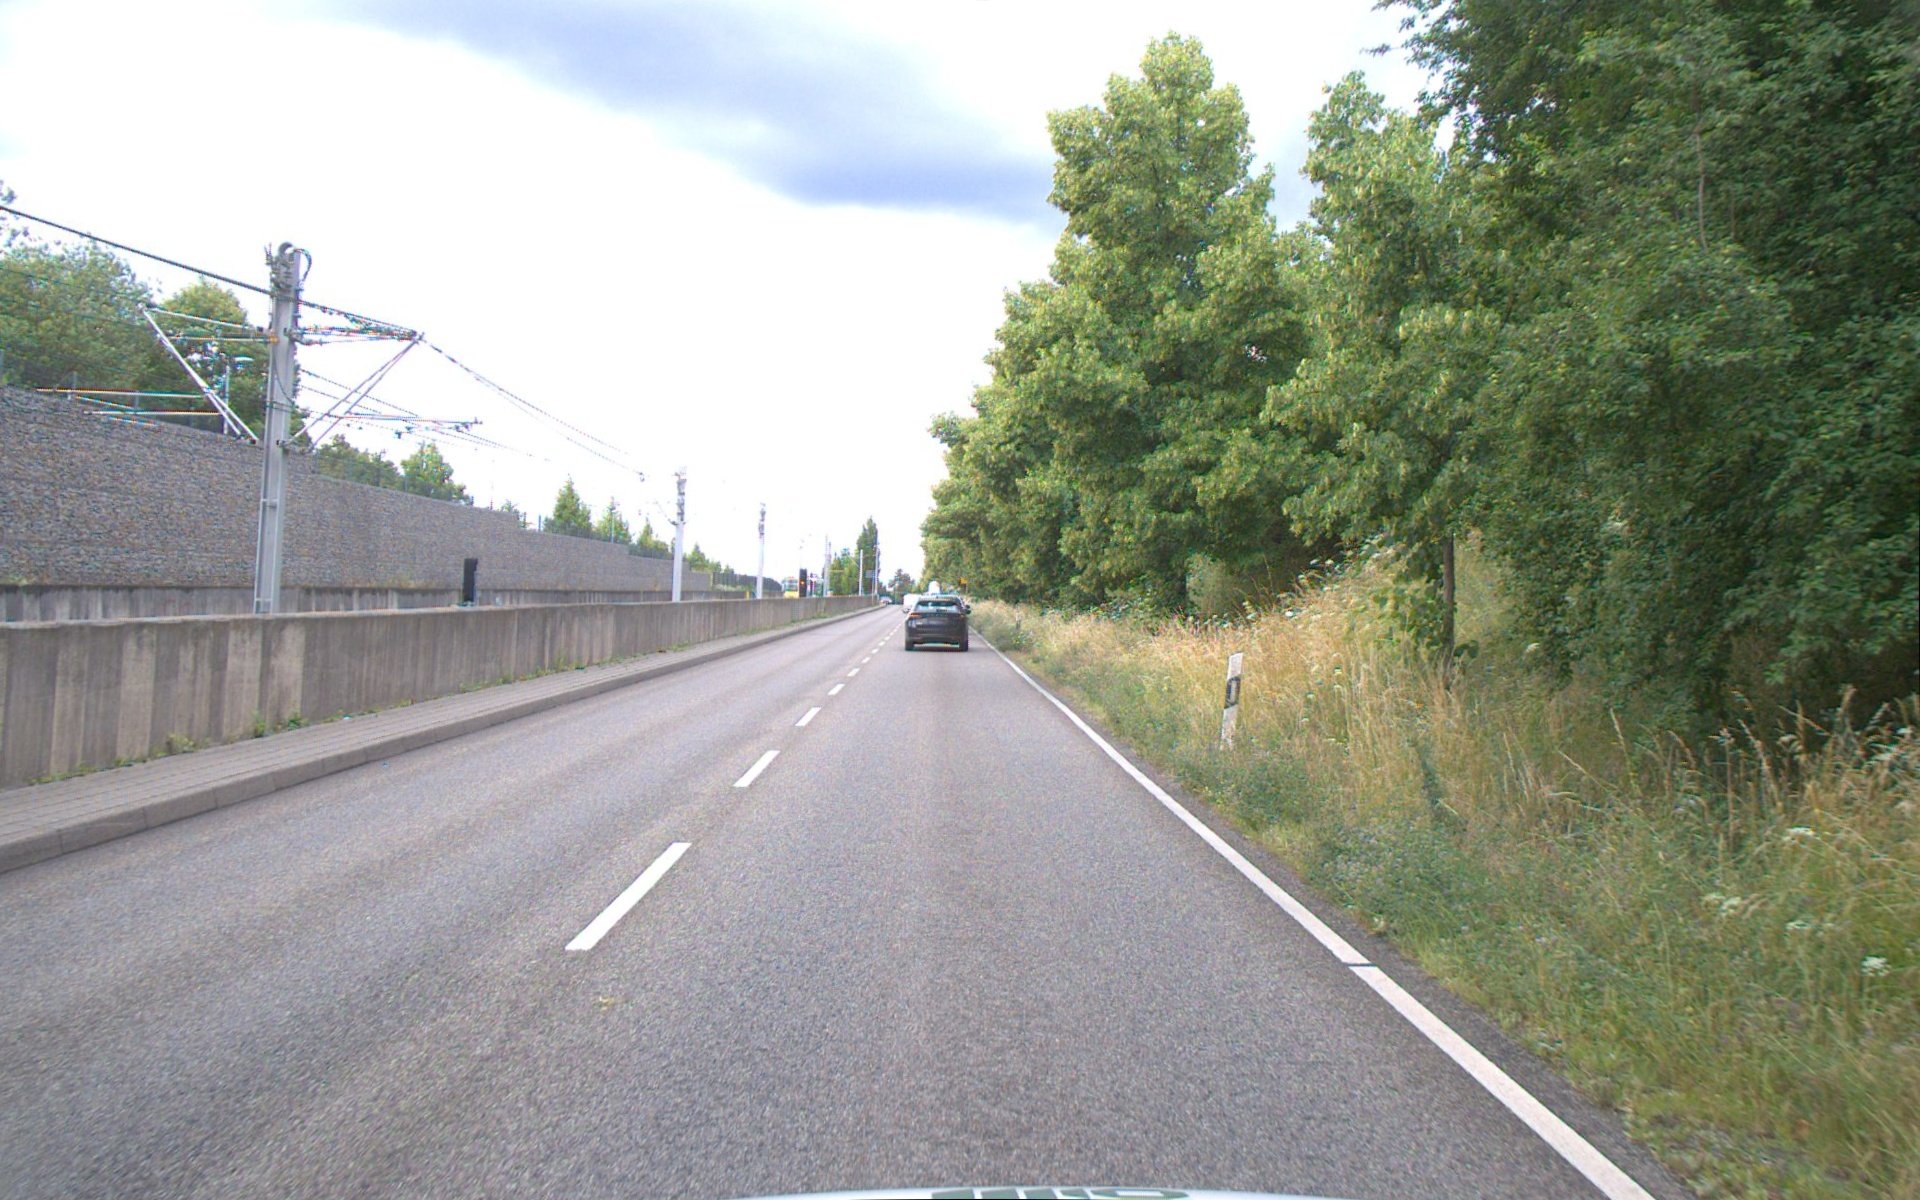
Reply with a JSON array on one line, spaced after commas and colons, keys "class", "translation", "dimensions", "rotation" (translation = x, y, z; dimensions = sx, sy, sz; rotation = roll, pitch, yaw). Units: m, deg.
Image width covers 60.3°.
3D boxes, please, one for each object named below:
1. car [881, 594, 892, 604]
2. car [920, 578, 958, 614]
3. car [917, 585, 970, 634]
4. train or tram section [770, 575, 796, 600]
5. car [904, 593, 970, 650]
[{"class": "car", "translation": [-11.035, -0.136, 248.487], "dimensions": [1.629, 1.572, 3.951], "rotation": [0, 0, -2]}, {"class": "car", "translation": [-1.096, -0.176, 85.961], "dimensions": [1.953, 1.771, 3.999], "rotation": [1, -1, -1]}, {"class": "car", "translation": [-0.640, 0.350, 64.011], "dimensions": [1.953, 1.783, 3.999], "rotation": [1, 0, -1]}, {"class": "train or tram section", "translation": [-25.969, -1.753, 241.946], "dimensions": [2.760, 3.172, 18.872], "rotation": [1, -1, -9]}, {"class": "car", "translation": [-0.639, 0.558, 45.834], "dimensions": [1.745, 1.493, 3.999], "rotation": [1, 0, -1]}]
